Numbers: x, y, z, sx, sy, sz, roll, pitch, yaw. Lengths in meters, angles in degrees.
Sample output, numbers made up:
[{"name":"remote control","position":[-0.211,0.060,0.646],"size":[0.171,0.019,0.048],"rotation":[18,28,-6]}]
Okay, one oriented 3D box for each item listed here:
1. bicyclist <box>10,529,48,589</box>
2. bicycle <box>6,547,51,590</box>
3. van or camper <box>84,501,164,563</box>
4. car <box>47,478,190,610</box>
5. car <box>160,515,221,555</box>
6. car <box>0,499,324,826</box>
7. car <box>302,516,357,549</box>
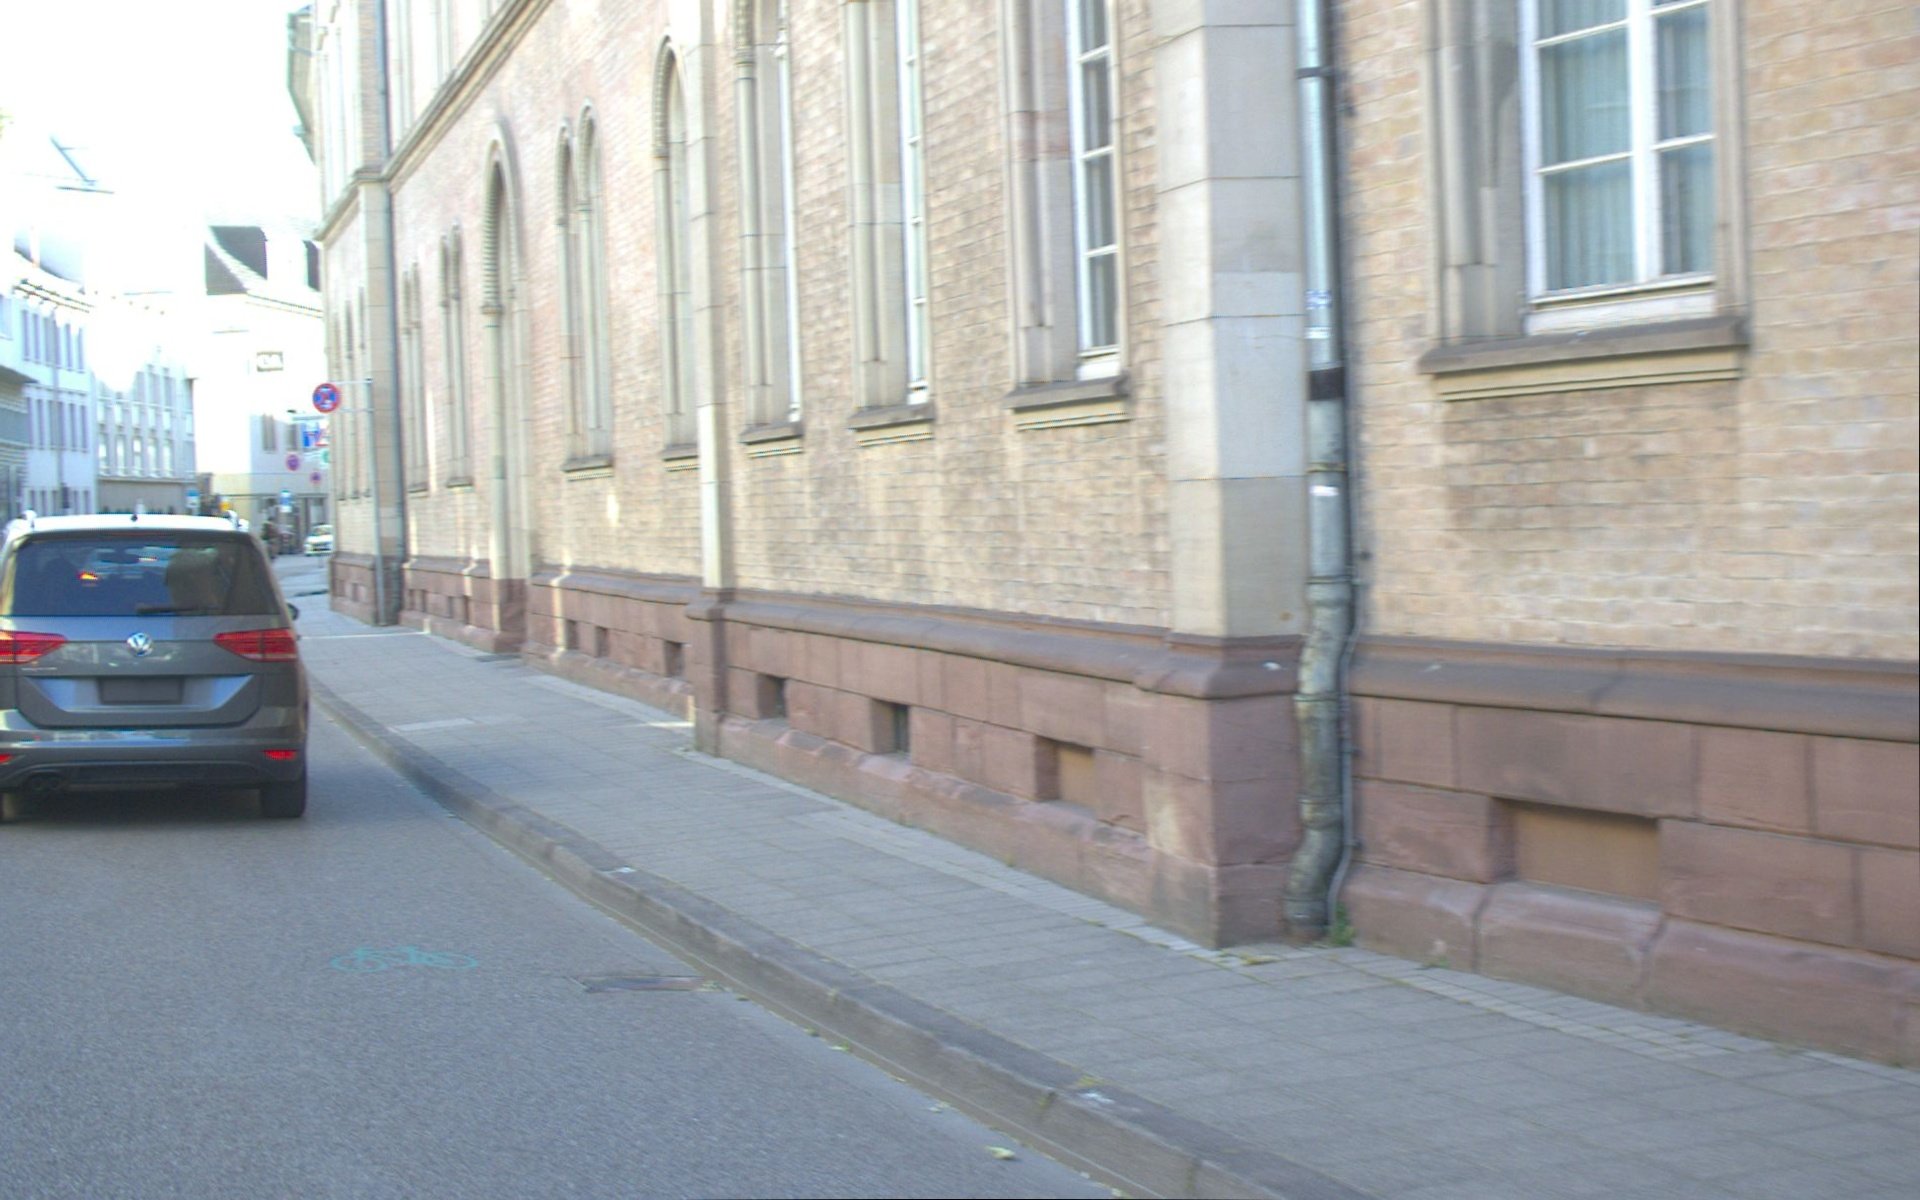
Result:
[{"name":"bicyclist","position":[-24.700,-1.101,91.235],"size":[0.830,1.556,0.760],"rotation":[-2,2,-9]},{"name":"bicycle","position":[-24.692,-0.839,91.144],"size":[0.830,1.050,2.550],"rotation":[-2,2,-9]},{"name":"van or camper","position":[-28.422,-2.338,116.989],"size":[1.993,2.006,4.484],"rotation":[-2,2,-6]},{"name":"car","position":[-12.851,-0.884,52.611],"size":[1.993,1.875,4.001],"rotation":[-2,2,-13]},{"name":"car","position":[-29.961,-2.536,133.978],"size":[1.865,1.463,3.835],"rotation":[-2,2,-7]},{"name":"car","position":[-4.628,0.273,18.932],"size":[1.761,1.601,4.001],"rotation":[1,1,-17]},{"name":"car","position":[-30.202,-3.237,164.768],"size":[1.734,1.463,4.000],"rotation":[-2,2,3]}]
